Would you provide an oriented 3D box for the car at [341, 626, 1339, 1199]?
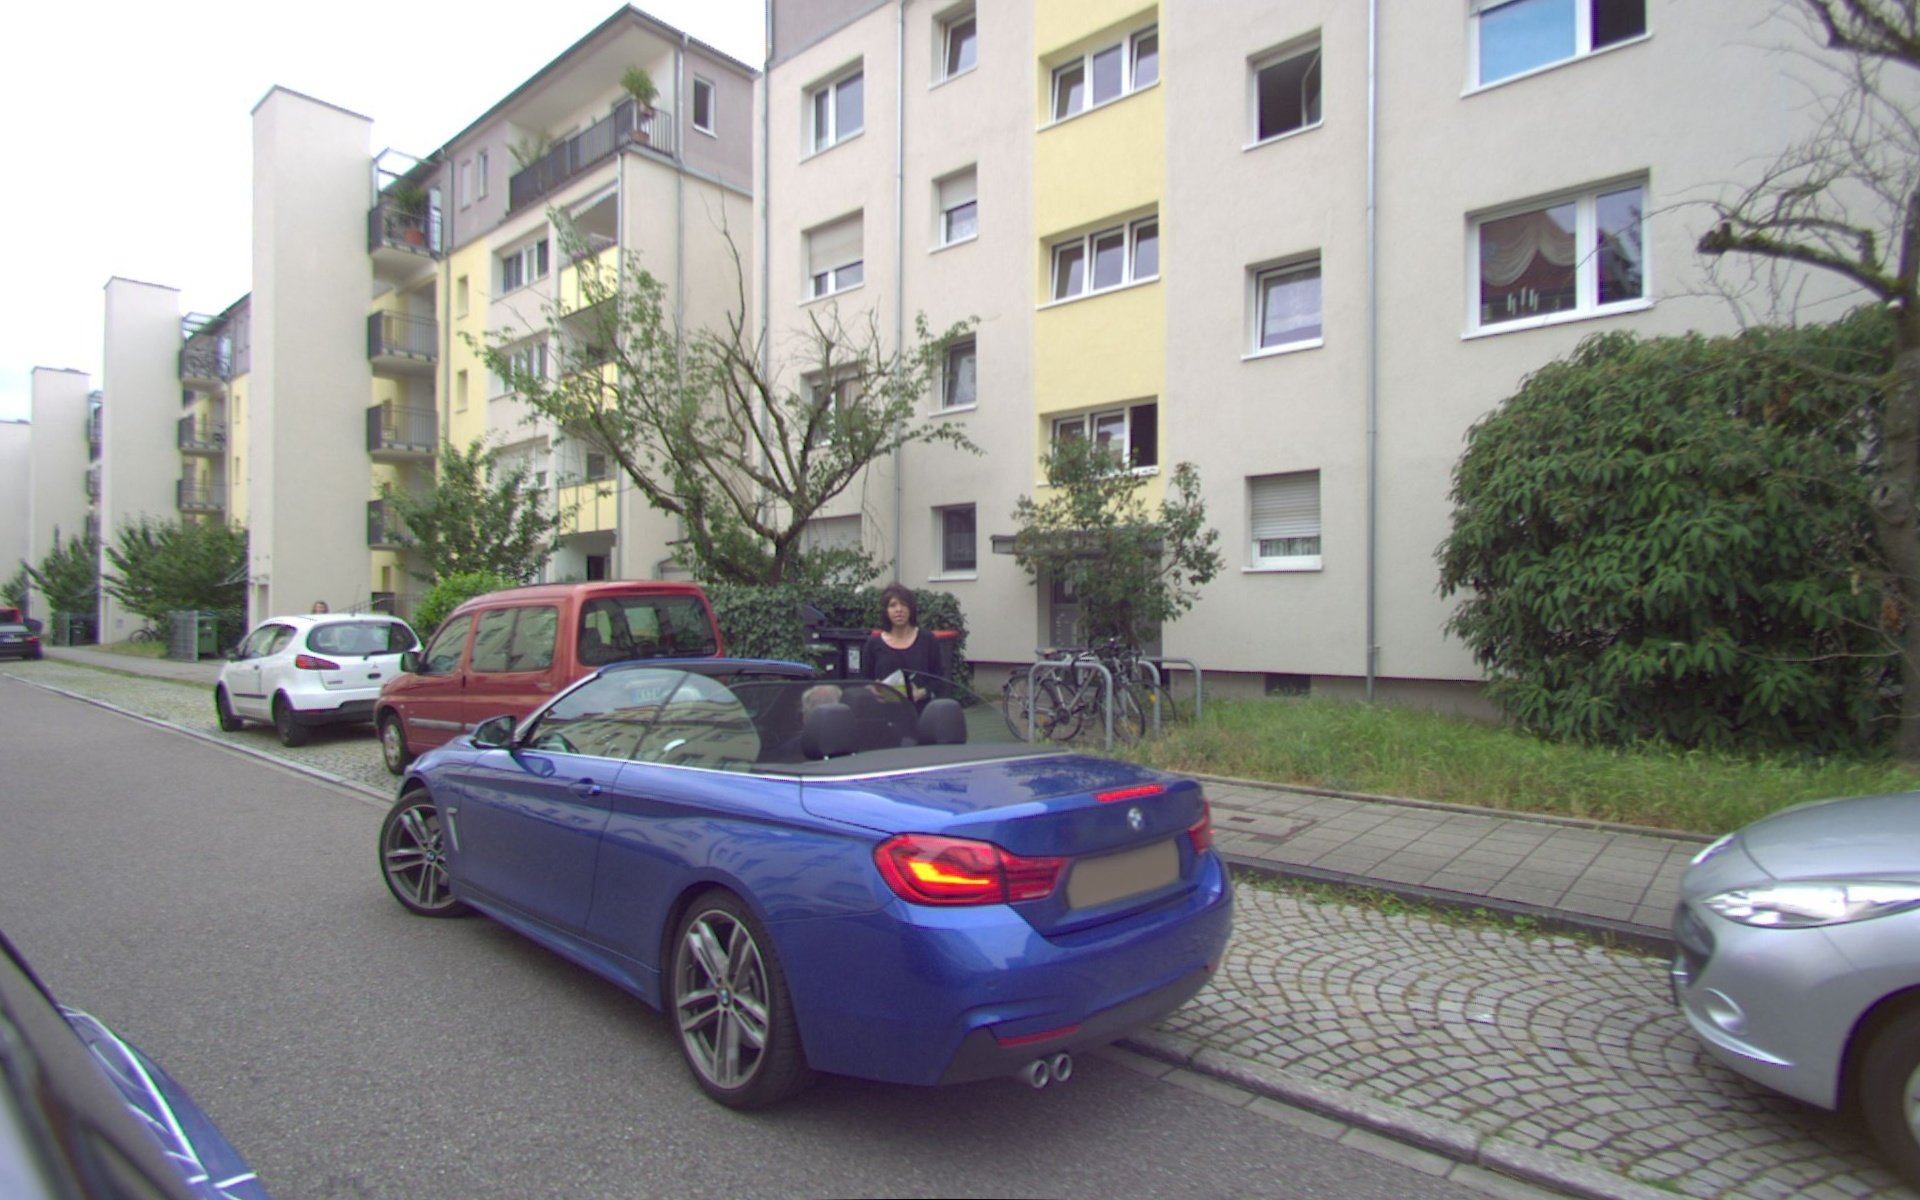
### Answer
[{"bbox_3d":[-0.945,0.871,4.392,4.500,1.462,1.825,-1,-1,43],"label":"car"}]

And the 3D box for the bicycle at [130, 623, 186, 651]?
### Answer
[{"bbox_3d":[-34.582,1.575,43.644,0.604,1.127,1.816,-1,-1,40],"label":"bicycle"}]

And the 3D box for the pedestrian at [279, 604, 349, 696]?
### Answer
[{"bbox_3d":[-11.796,0.891,18.477,0.945,1.622,0.792,-1,-2,37],"label":"pedestrian"}]

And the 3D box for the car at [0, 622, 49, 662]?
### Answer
[{"bbox_3d":[-33.967,1.470,35.934,4.358,1.333,1.851,-1,0,40],"label":"car"}]

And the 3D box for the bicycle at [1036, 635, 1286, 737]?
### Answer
[{"bbox_3d":[2.197,0.912,11.449,2.754,1.006,0.769,-1,-2,40],"label":"bicycle"}]

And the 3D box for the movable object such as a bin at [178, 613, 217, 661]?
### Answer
[{"bbox_3d":[-23.560,1.140,31.268,0.794,1.440,1.289,0,-1,-45],"label":"movable object such as a bin"}]

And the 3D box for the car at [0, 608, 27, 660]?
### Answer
[{"bbox_3d":[-38.768,1.358,39.971,4.916,1.968,2.130,-1,0,39],"label":"car"}]

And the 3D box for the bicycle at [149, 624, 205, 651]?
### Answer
[{"bbox_3d":[-33.119,1.578,42.816,1.812,1.127,0.571,0,-1,-43],"label":"bicycle"}]

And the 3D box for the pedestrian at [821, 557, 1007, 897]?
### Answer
[{"bbox_3d":[-0.238,0.652,5.635,0.791,1.714,0.737,0,-2,24],"label":"pedestrian"}]

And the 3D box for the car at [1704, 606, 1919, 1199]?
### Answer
[{"bbox_3d":[4.074,0.756,2.230,3.784,1.476,1.726,-1,0,41],"label":"car"}]

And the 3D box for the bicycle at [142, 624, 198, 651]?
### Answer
[{"bbox_3d":[-33.884,1.591,43.422,0.570,1.127,1.814,-1,-1,43],"label":"bicycle"}]

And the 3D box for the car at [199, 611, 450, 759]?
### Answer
[{"bbox_3d":[-8.292,0.966,13.084,3.869,1.582,1.703,-1,0,41],"label":"car"}]

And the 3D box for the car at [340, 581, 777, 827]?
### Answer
[{"bbox_3d":[-3.902,0.782,9.494,4.357,1.784,1.937,-1,0,39],"label":"car"}]

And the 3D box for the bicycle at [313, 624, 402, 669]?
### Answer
[{"bbox_3d":[-16.242,1.234,27.345,0.621,1.150,2.007,-1,-1,31],"label":"bicycle"}]

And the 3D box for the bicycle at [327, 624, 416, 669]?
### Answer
[{"bbox_3d":[-15.697,1.215,27.024,0.621,1.150,2.007,-1,-1,31],"label":"bicycle"}]

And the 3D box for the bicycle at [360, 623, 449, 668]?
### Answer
[{"bbox_3d":[-14.702,1.183,26.839,0.622,1.150,2.003,-1,-1,38],"label":"bicycle"}]

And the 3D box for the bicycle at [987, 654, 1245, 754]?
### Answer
[{"bbox_3d":[1.522,1.016,10.456,2.754,0.854,0.565,-1,-2,40],"label":"bicycle"}]

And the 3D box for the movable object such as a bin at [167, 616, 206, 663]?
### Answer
[{"bbox_3d":[-24.600,1.233,32.180,1.288,1.440,0.794,-1,-1,44],"label":"movable object such as a bin"}]
